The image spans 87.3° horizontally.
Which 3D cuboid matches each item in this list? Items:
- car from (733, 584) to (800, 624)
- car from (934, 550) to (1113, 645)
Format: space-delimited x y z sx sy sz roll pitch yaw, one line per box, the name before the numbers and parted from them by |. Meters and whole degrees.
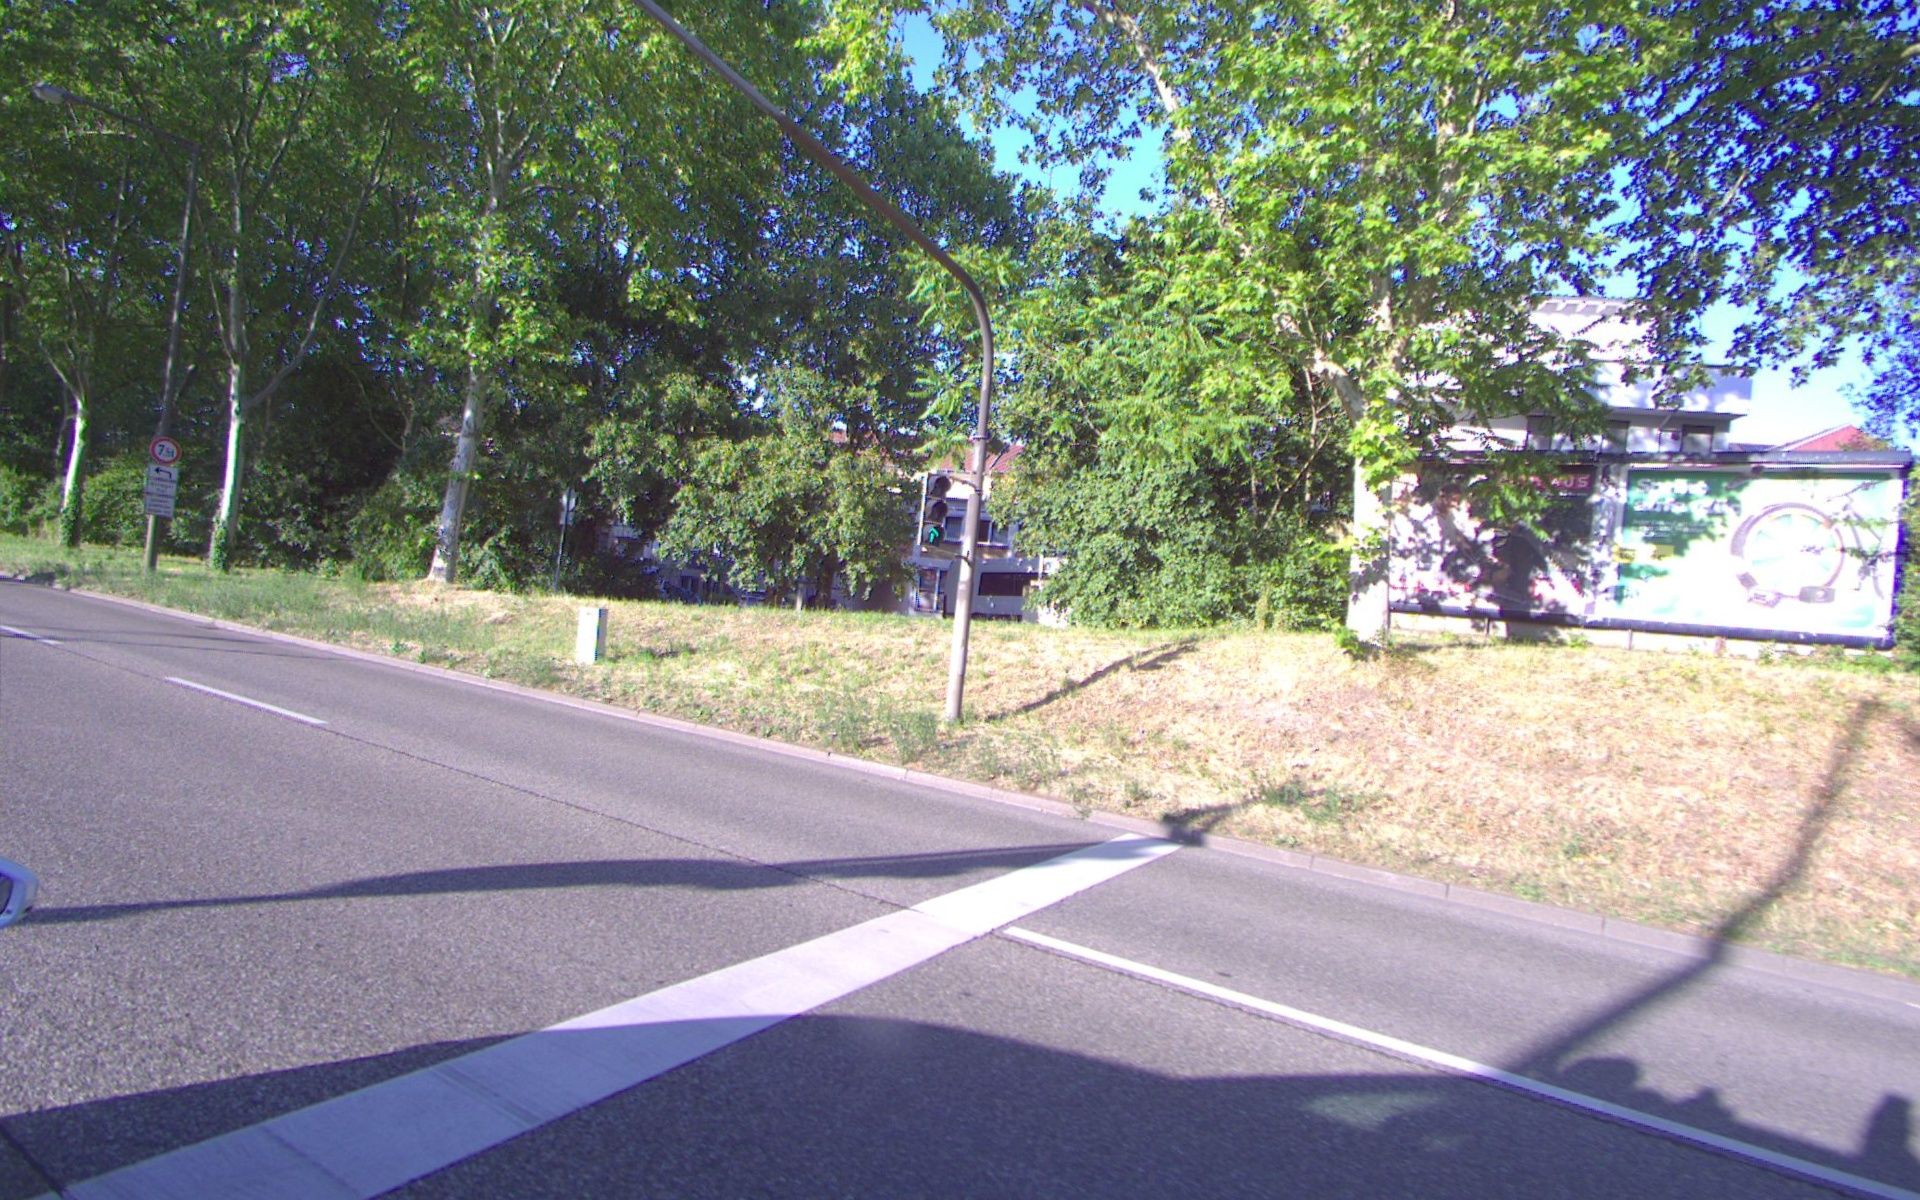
car | -10.554 0.228 55.160 1.882 1.725 4.005 7 -2 15
car | 2.010 -0.122 33.094 5.541 2.542 1.802 6 -2 36
